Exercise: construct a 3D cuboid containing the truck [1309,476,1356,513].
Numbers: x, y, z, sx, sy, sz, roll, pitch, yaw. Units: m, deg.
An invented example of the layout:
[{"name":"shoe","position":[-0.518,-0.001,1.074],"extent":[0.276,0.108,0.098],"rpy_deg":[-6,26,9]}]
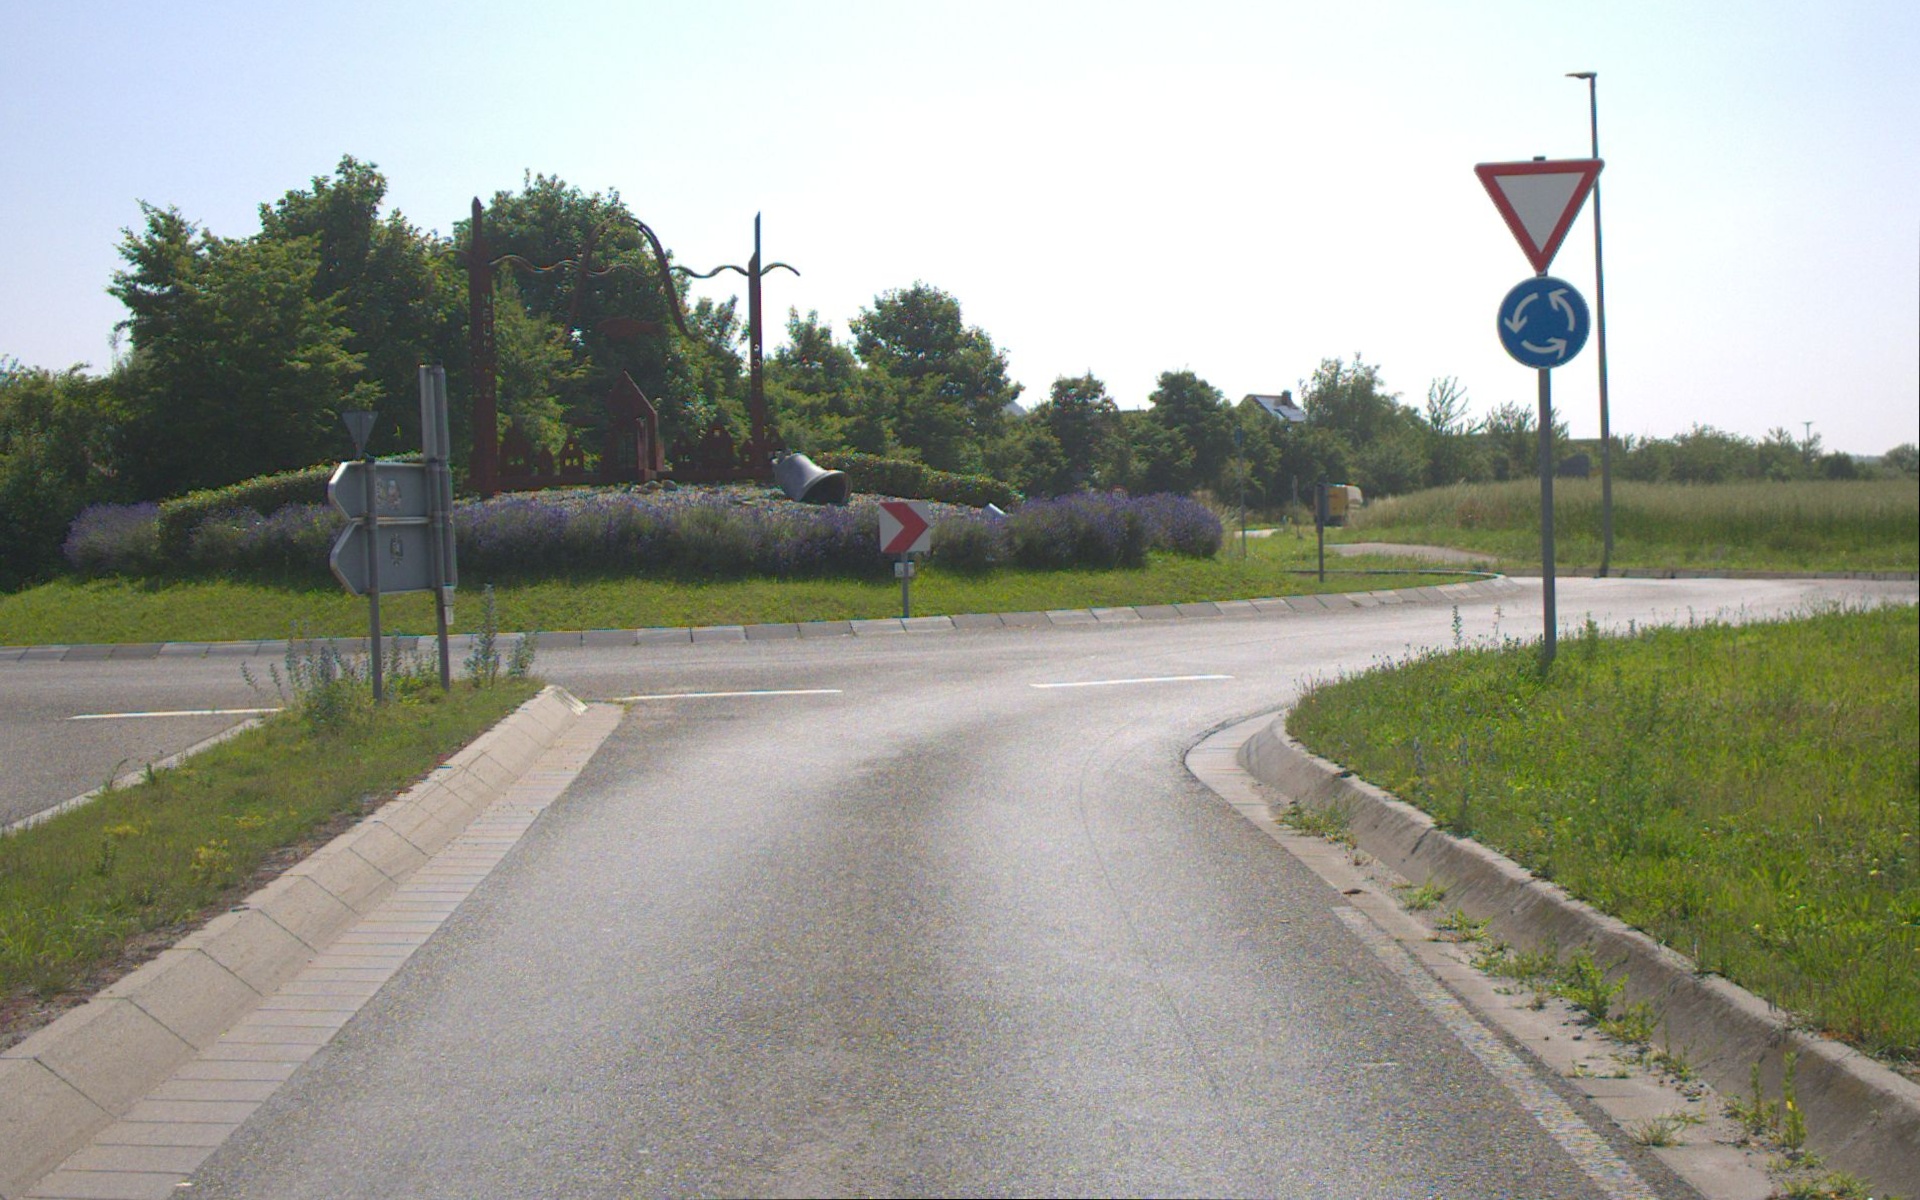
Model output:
[{"name":"truck","position":[20.683,-5.861,190.617],"extent":[1.995,2.007,3.998],"rpy_deg":[-1,1,15]}]
